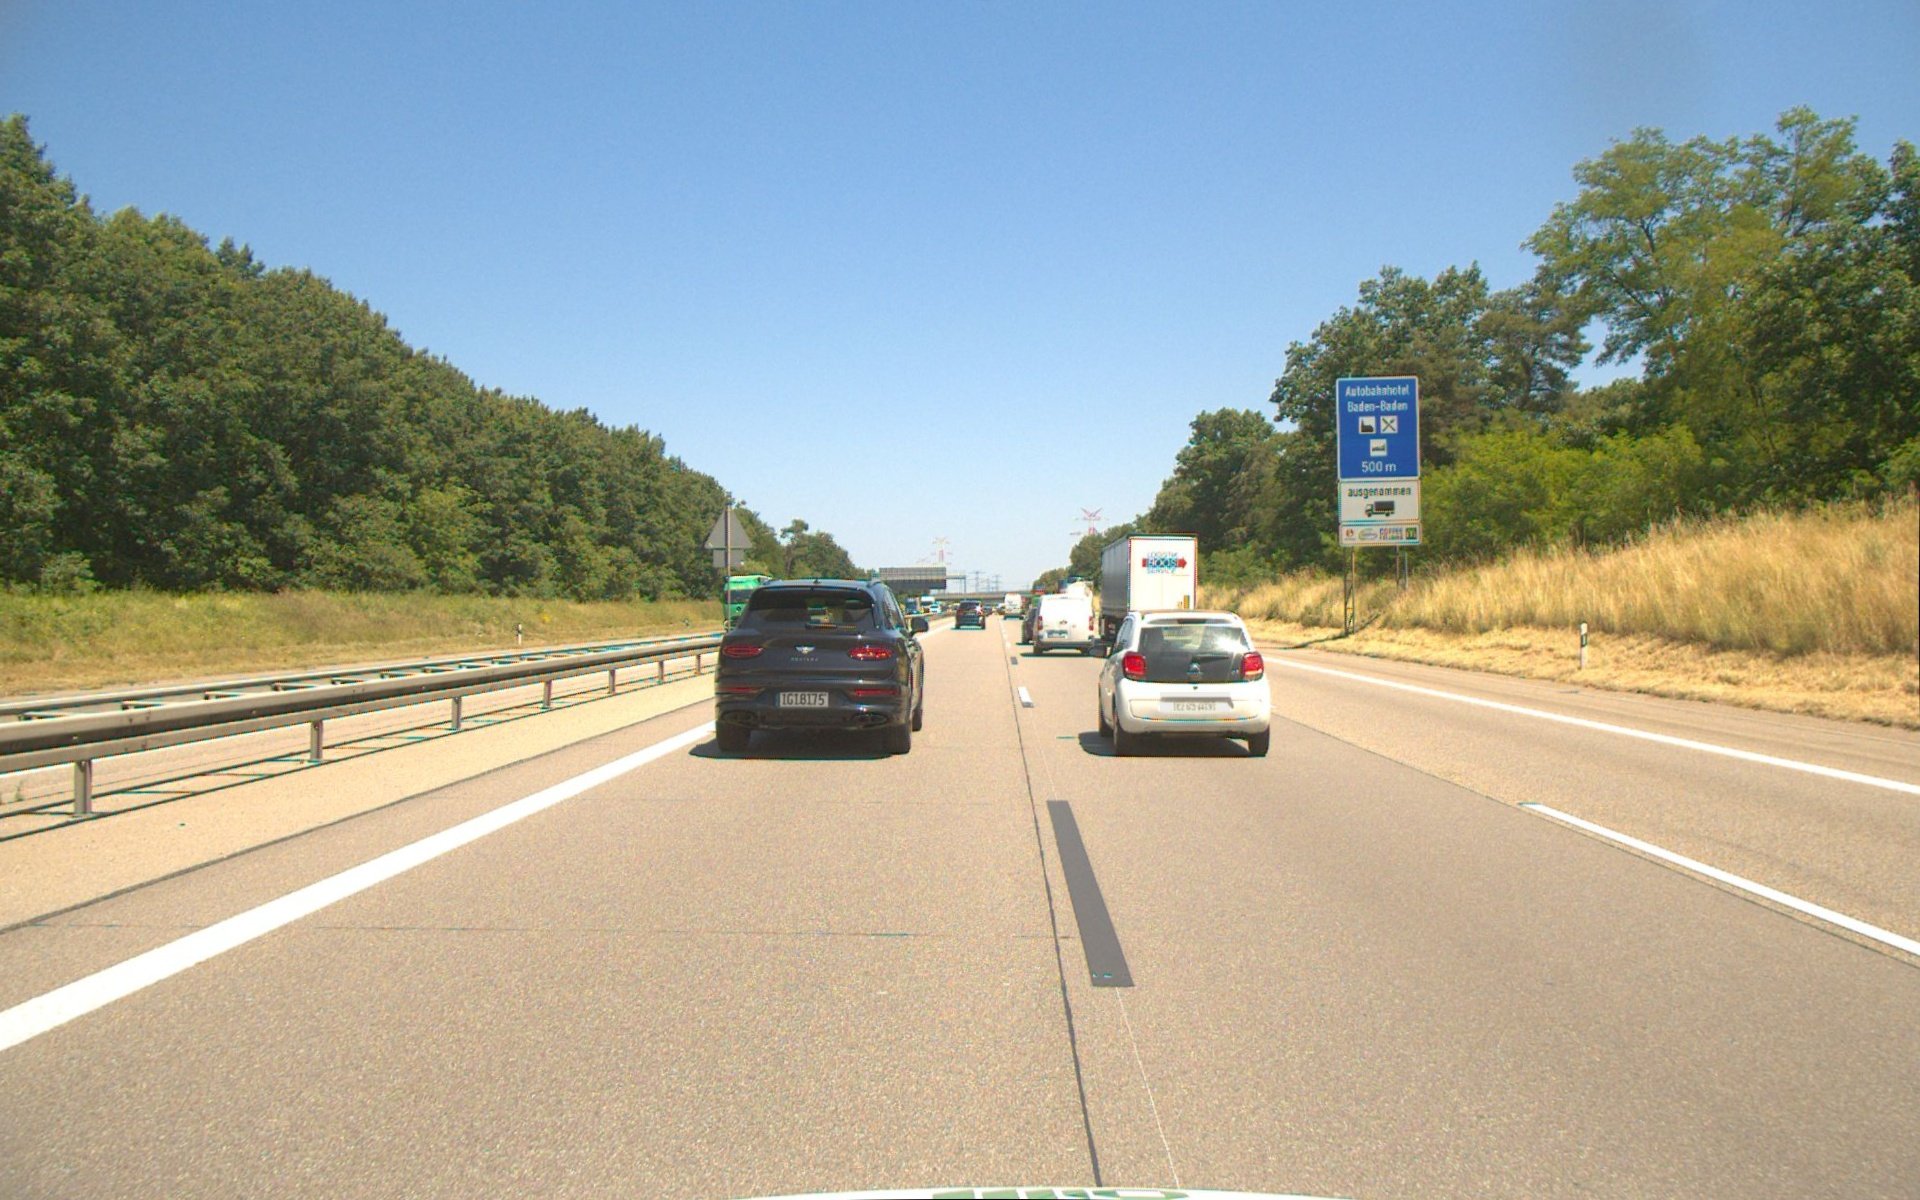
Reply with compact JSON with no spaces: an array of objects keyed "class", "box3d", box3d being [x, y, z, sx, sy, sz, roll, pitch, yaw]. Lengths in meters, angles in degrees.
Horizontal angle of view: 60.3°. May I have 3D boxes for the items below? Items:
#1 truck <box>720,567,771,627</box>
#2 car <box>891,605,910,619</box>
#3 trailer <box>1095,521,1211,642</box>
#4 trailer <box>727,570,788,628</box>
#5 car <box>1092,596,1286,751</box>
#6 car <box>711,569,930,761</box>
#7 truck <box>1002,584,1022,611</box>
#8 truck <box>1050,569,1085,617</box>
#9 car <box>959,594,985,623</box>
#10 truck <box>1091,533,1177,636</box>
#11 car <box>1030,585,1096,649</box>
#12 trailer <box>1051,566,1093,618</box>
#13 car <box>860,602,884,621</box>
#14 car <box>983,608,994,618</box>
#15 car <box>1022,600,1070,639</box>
[{"class":"truck","box3d":[-16.150,-0.206,124.902,2.645,4.233,6.297,-3,0,1]},{"class":"car","box3d":[-6.412,1.288,178.800,1.674,1.435,5.084,-3,0,1]},{"class":"trailer","box3d":[7.502,-0.633,66.457,3.218,4.293,13.565,1,0,1]},{"class":"trailer","box3d":[-16.020,-0.034,132.176,2.649,4.233,14.339,-3,0,1]},{"class":"car","box3d":[2.419,0.722,18.339,1.673,1.521,4.024,0,0,1]},{"class":"car","box3d":[-1.360,0.583,18.415,1.900,1.782,5.813,0,1,0]},{"class":"truck","box3d":[5.849,-0.225,186.585,2.018,2.965,7.003,0,0,1]},{"class":"truck","box3d":[8.937,-0.546,137.572,2.627,3.904,4.444,1,0,1]},{"class":"car","box3d":[0.777,0.497,104.189,1.593,1.785,3.805,0,0,1]},{"class":"truck","box3d":[7.608,-0.639,73.006,3.218,4.293,6.008,1,0,1]},{"class":"car","box3d":[3.115,0.509,50.923,1.777,1.859,5.111,0,0,1]},{"class":"trailer","box3d":[8.865,-0.572,131.847,2.627,3.904,12.010,1,0,1]},{"class":"car","box3d":[-7.462,0.944,140.710,1.621,1.526,4.600,-3,0,1]},{"class":"car","box3d":[4.087,1.817,234.932,1.573,1.323,3.675,0,0,1]},{"class":"car","box3d":[3.346,0.746,64.807,1.738,1.498,3.873,0,0,1]}]
